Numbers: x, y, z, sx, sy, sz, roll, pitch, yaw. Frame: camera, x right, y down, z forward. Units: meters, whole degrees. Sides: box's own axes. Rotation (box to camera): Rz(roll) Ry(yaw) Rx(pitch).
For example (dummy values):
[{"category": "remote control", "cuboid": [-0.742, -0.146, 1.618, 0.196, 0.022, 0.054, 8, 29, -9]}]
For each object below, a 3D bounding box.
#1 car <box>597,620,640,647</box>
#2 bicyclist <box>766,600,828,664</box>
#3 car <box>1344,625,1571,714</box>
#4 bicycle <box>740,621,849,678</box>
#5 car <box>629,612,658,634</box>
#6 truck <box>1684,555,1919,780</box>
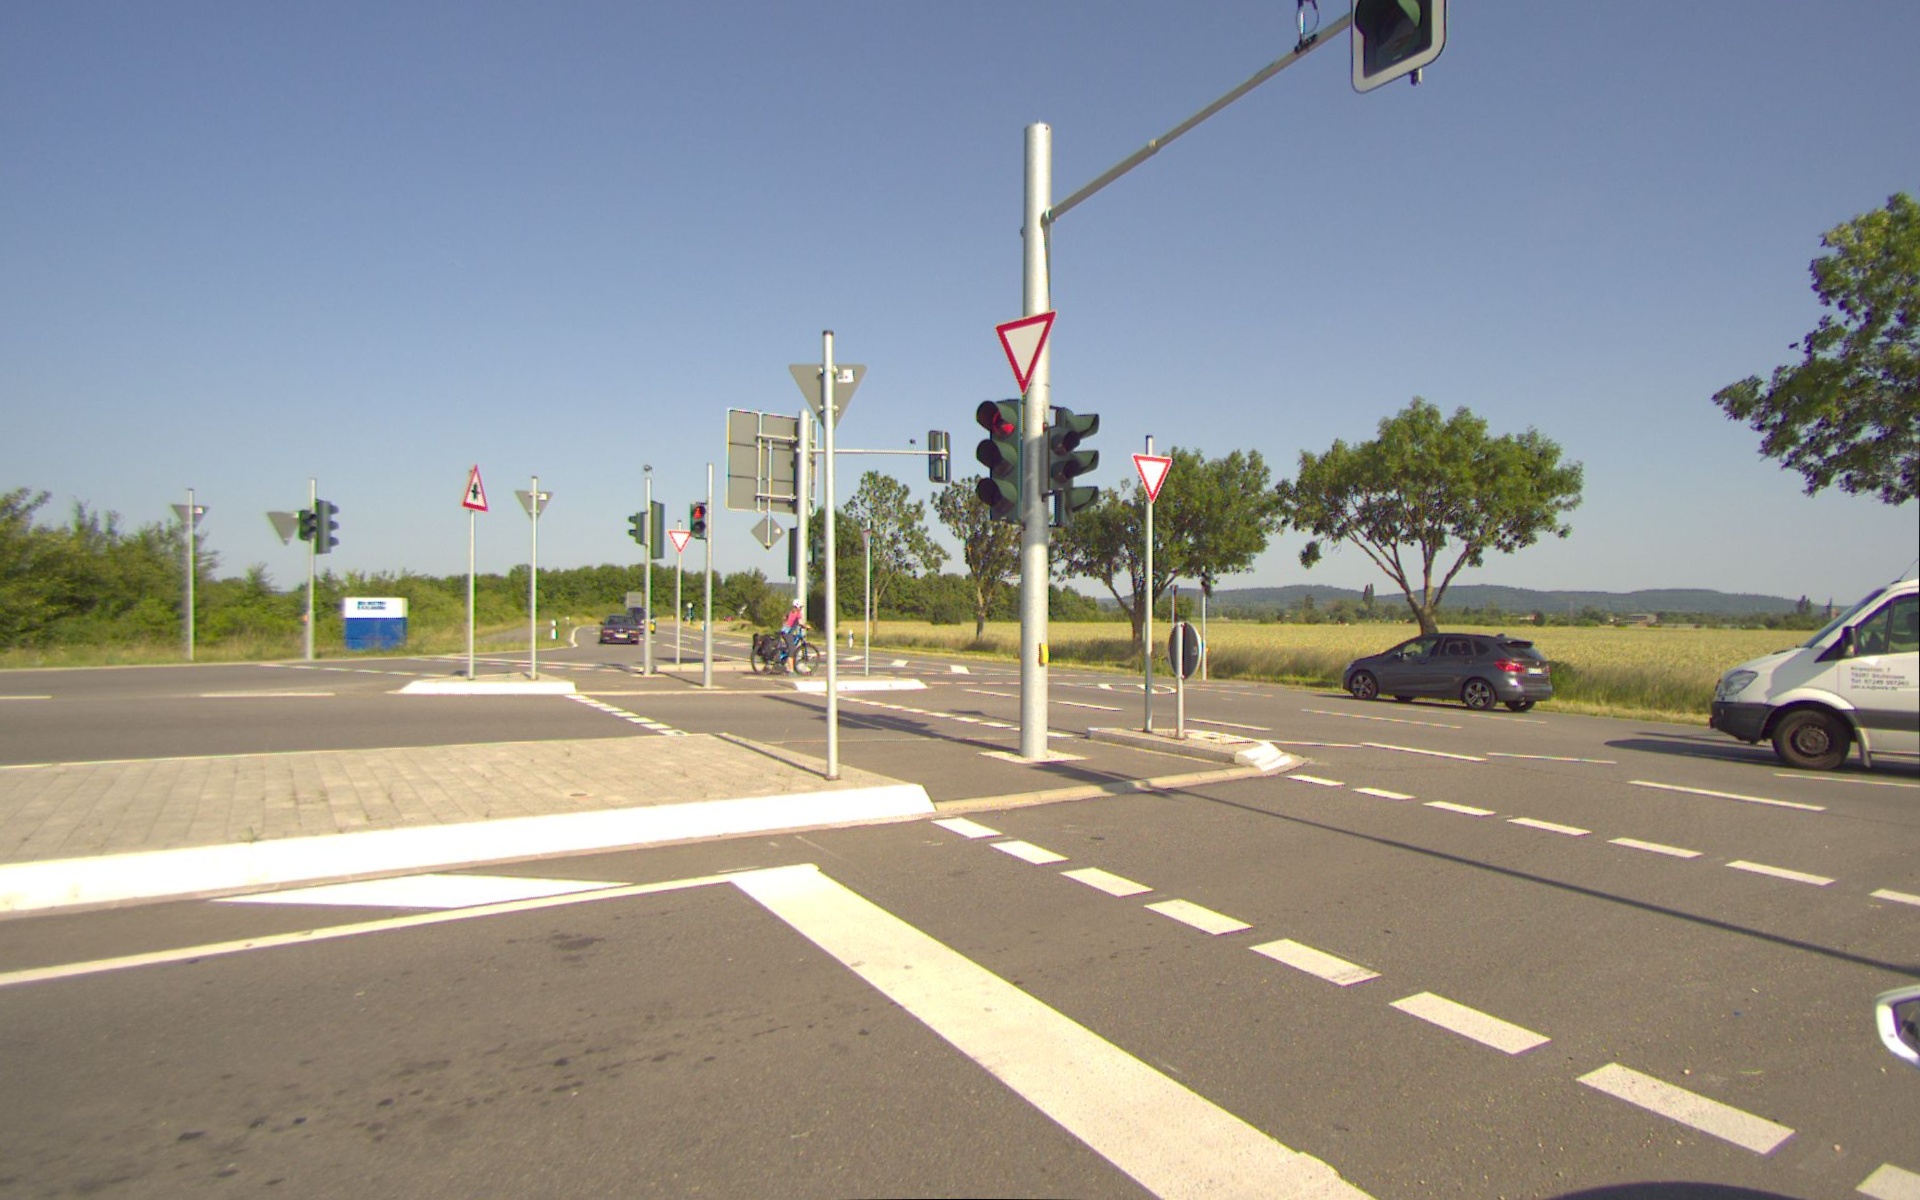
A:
[{"category": "car", "cuboid": [-15.853, 1.519, 46.526, 1.714, 1.127, 3.981, 3, -2, -21]}, {"category": "bicyclist", "cuboid": [-3.653, 0.713, 22.544, 1.063, 1.369, 0.850, 3, -1, -35]}, {"category": "car", "cuboid": [10.590, 1.445, 21.631, 1.871, 1.646, 3.964, 4, -2, -32]}, {"category": "bicycle", "cuboid": [-3.699, 1.116, 22.527, 2.130, 1.164, 1.063, 3, -1, -36]}, {"category": "car", "cuboid": [-23.642, 1.718, 74.908, 1.835, 1.562, 3.982, 2, -1, -20]}, {"category": "truck", "cuboid": [11.842, 0.783, 11.025, 6.111, 2.436, 2.060, 1, -2, 43]}]
